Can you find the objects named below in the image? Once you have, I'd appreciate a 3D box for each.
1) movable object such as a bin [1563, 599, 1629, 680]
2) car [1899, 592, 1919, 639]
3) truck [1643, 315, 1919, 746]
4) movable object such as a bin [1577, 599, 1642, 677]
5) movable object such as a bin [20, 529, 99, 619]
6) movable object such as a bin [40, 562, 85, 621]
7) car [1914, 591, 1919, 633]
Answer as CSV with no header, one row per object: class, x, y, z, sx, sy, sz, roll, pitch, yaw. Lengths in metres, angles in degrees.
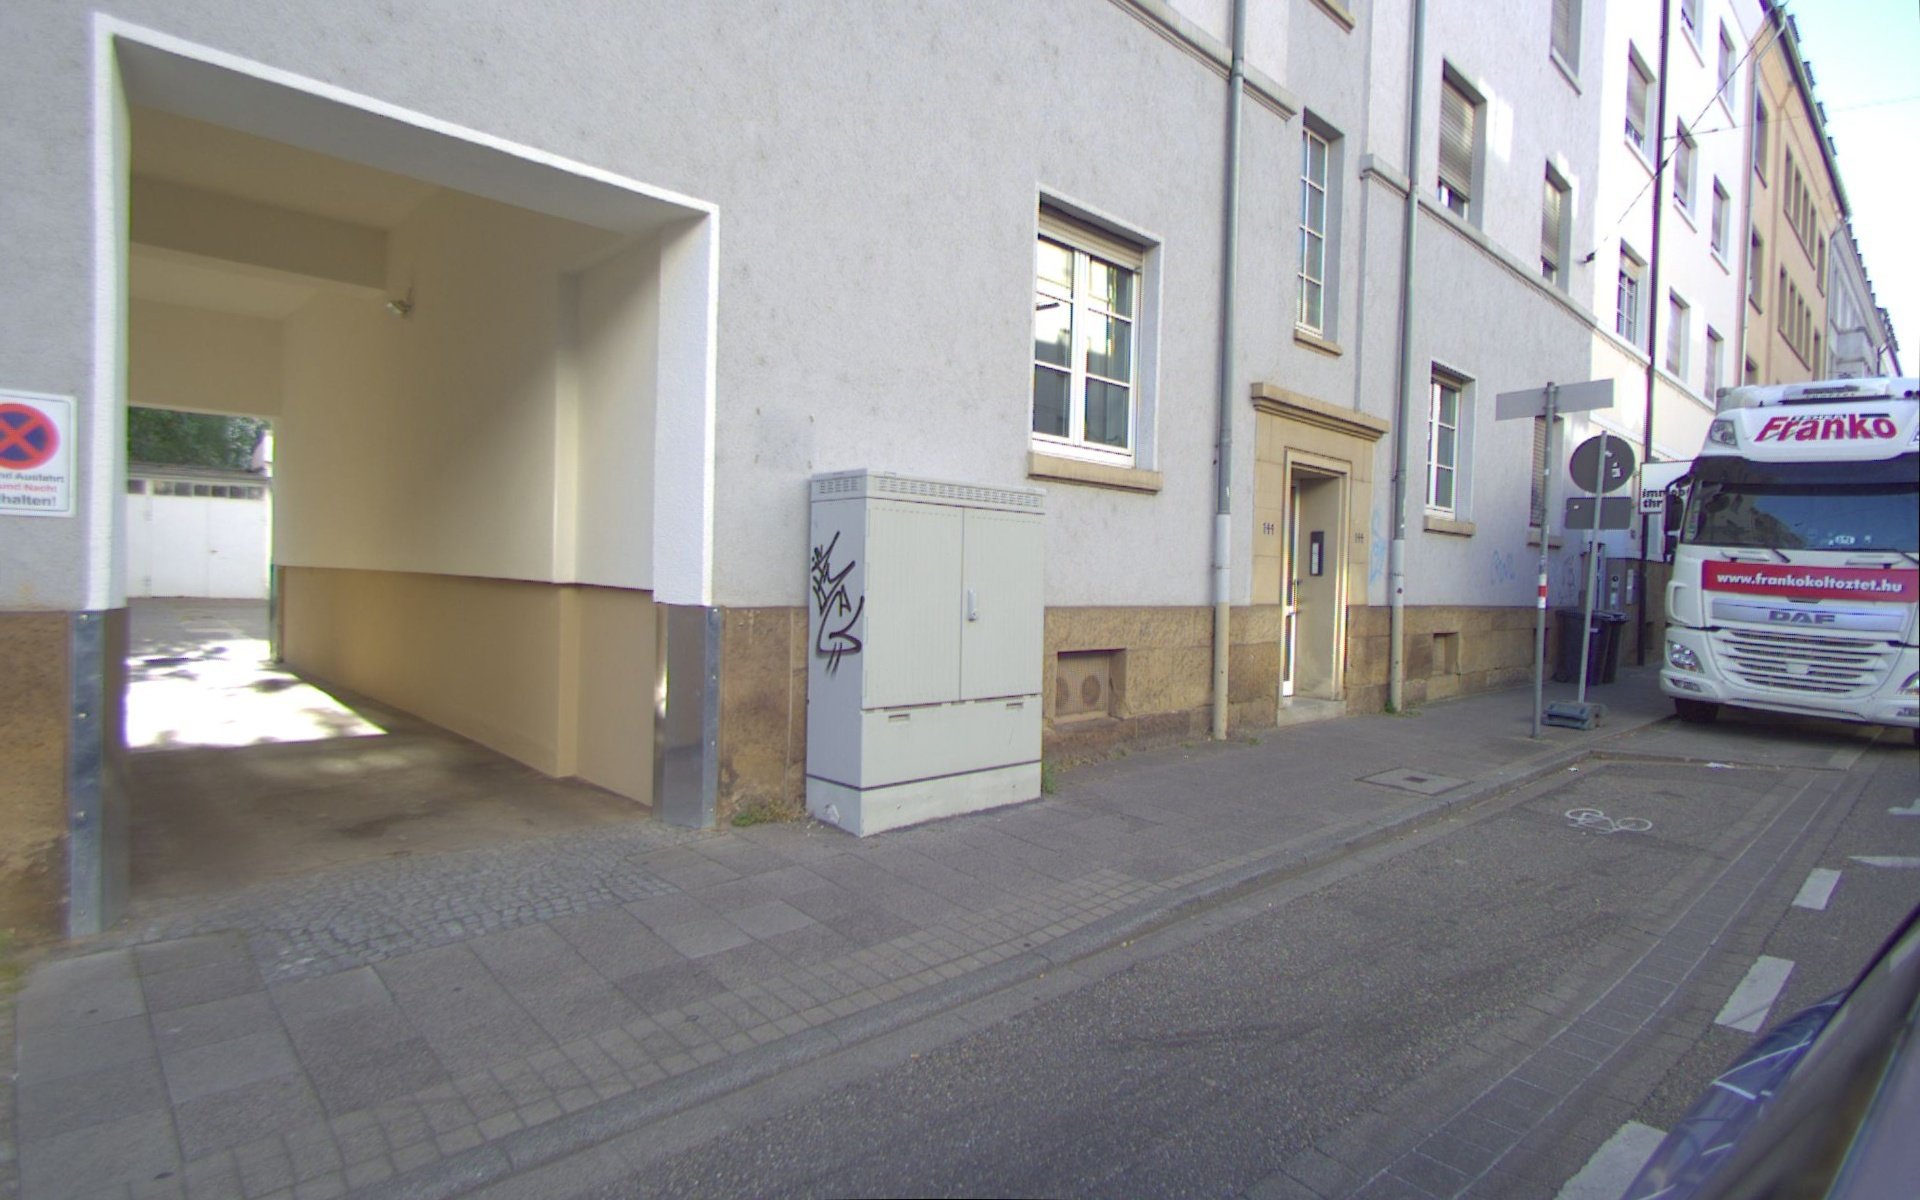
movable object such as a bin,9.172,0.553,14.595,0.560,1.107,0.665,0,2,-43
car,33.504,0.530,34.742,4.080,1.551,1.681,0,0,-44
truck,12.576,-0.678,13.889,11.621,3.975,2.778,0,2,-44
movable object such as a bin,9.651,0.544,15.046,0.560,1.107,0.665,0,2,-43
movable object such as a bin,-15.153,-0.448,17.024,0.946,1.426,1.597,0,2,-43
movable object such as a bin,-14.376,-0.141,16.205,0.518,0.922,0.580,0,2,-43
car,37.674,0.462,38.640,4.080,1.551,1.681,0,0,-44
